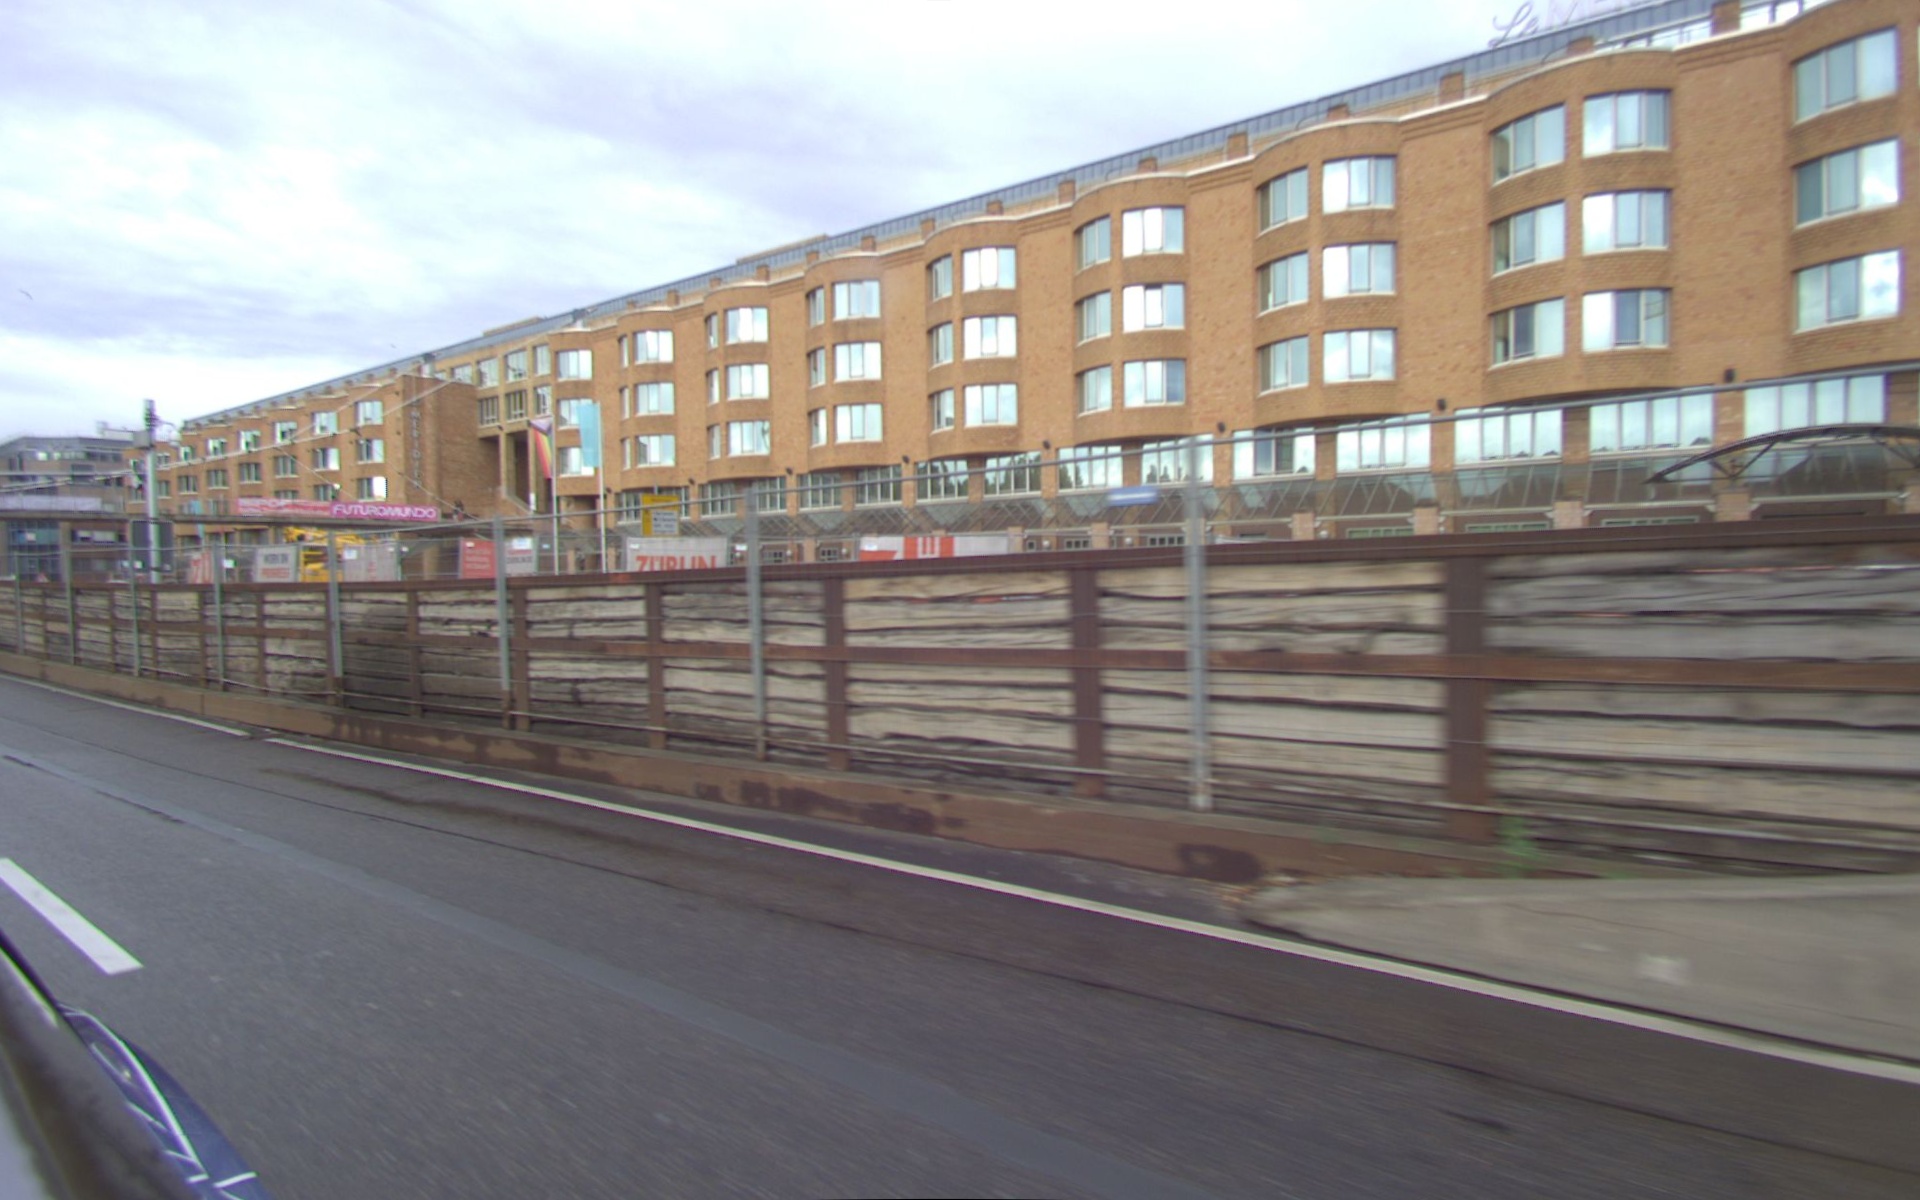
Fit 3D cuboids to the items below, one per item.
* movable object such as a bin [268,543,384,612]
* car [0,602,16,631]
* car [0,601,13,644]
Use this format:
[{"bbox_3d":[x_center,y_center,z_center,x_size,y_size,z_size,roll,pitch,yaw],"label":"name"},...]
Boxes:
[{"bbox_3d":[-23.332,-0.770,37.223,4.281,2.295,2.010,-1,-3,34],"label":"movable object such as a bin"},{"bbox_3d":[-54.702,0.955,56.716,4.513,1.561,1.732,-1,0,35],"label":"car"},{"bbox_3d":[-37.202,0.893,37.919,4.348,1.545,1.752,-2,0,36],"label":"car"}]
